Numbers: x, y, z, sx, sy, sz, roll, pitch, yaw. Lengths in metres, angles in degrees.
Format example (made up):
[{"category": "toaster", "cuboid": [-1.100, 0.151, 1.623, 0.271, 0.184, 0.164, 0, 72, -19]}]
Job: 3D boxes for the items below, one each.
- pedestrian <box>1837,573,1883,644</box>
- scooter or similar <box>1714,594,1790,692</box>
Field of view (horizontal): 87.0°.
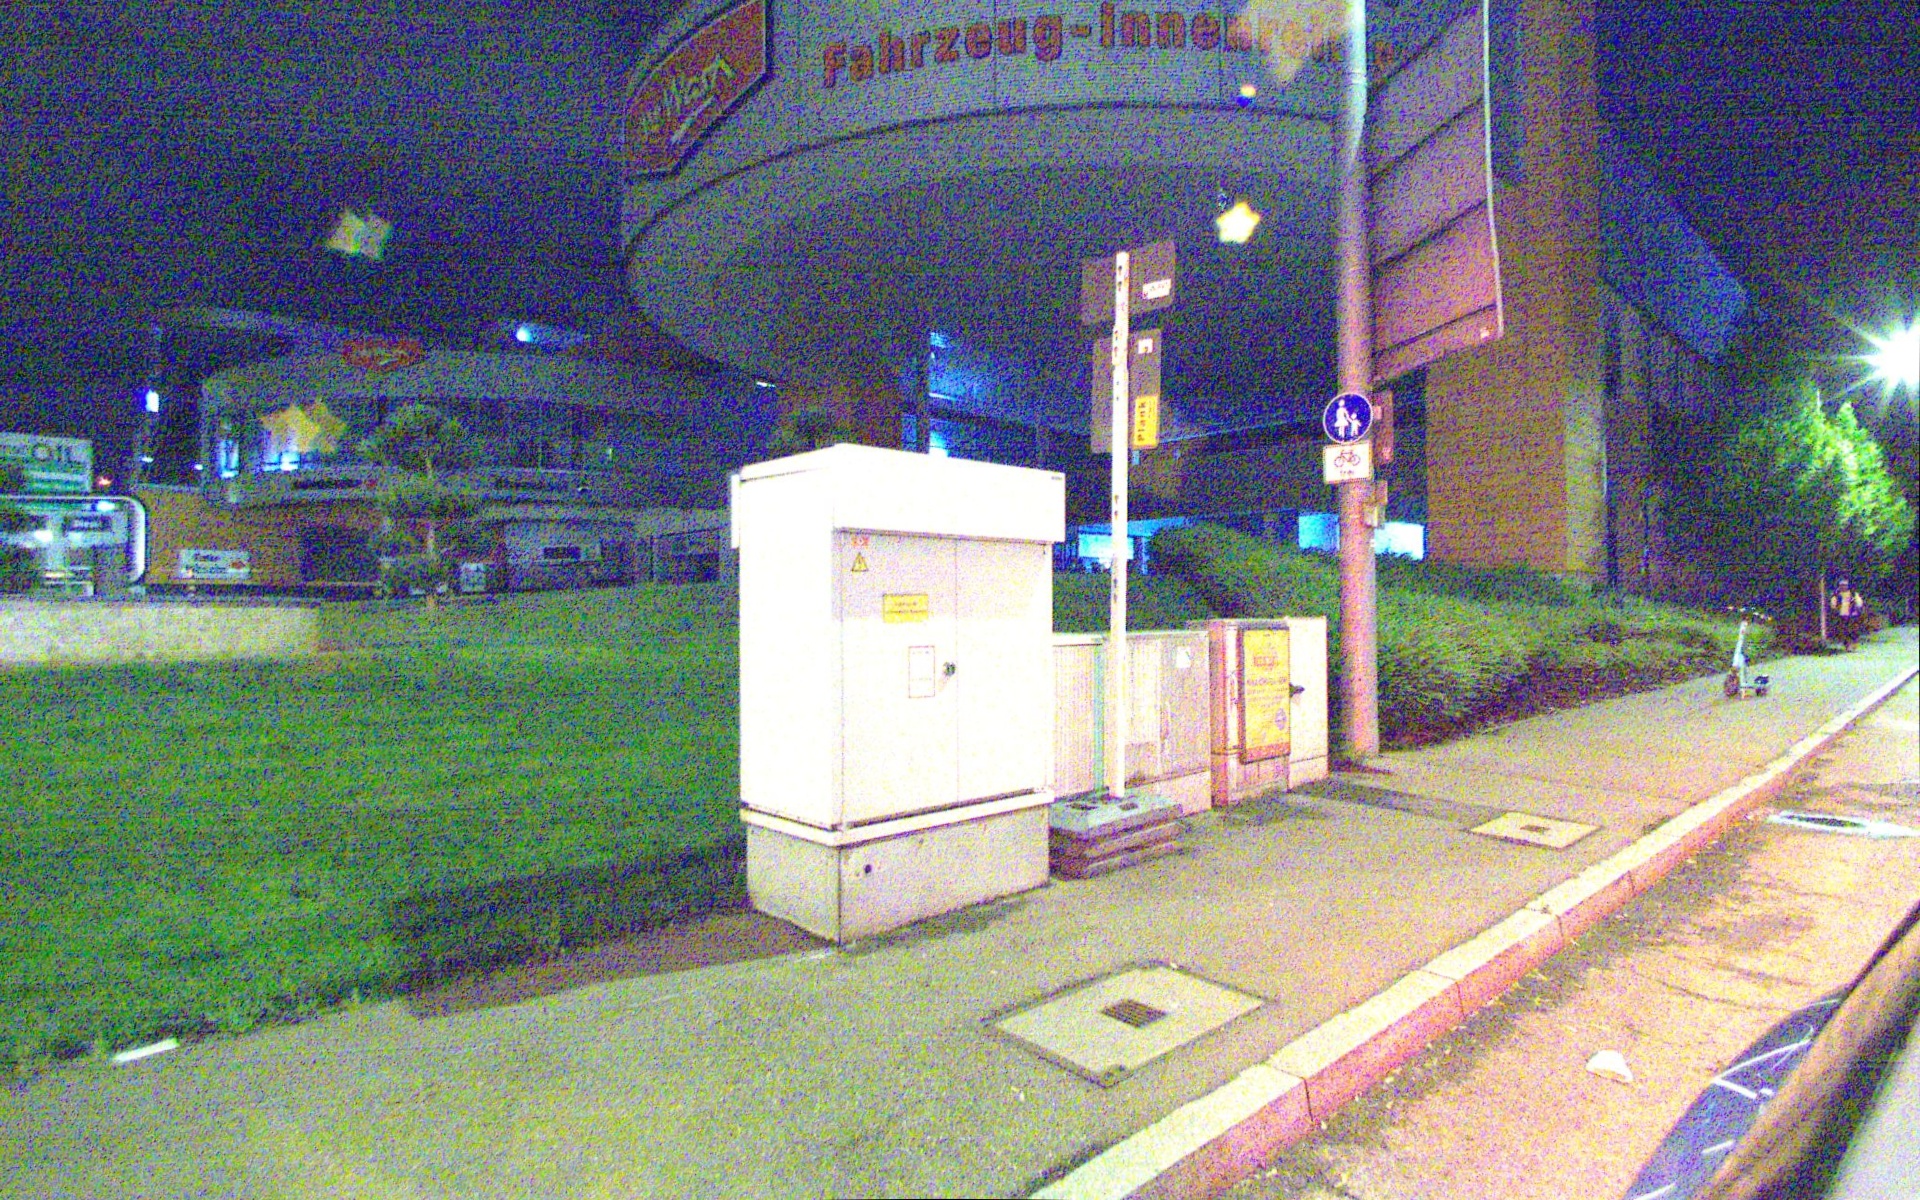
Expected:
[{"category": "pedestrian", "cuboid": [23.844, 0.220, 26.820, 0.597, 1.842, 0.824, -1, 0, -40]}, {"category": "scooter or similar", "cuboid": [11.143, 0.578, 14.234, 1.367, 1.295, 0.569, 0, 1, -41]}]
